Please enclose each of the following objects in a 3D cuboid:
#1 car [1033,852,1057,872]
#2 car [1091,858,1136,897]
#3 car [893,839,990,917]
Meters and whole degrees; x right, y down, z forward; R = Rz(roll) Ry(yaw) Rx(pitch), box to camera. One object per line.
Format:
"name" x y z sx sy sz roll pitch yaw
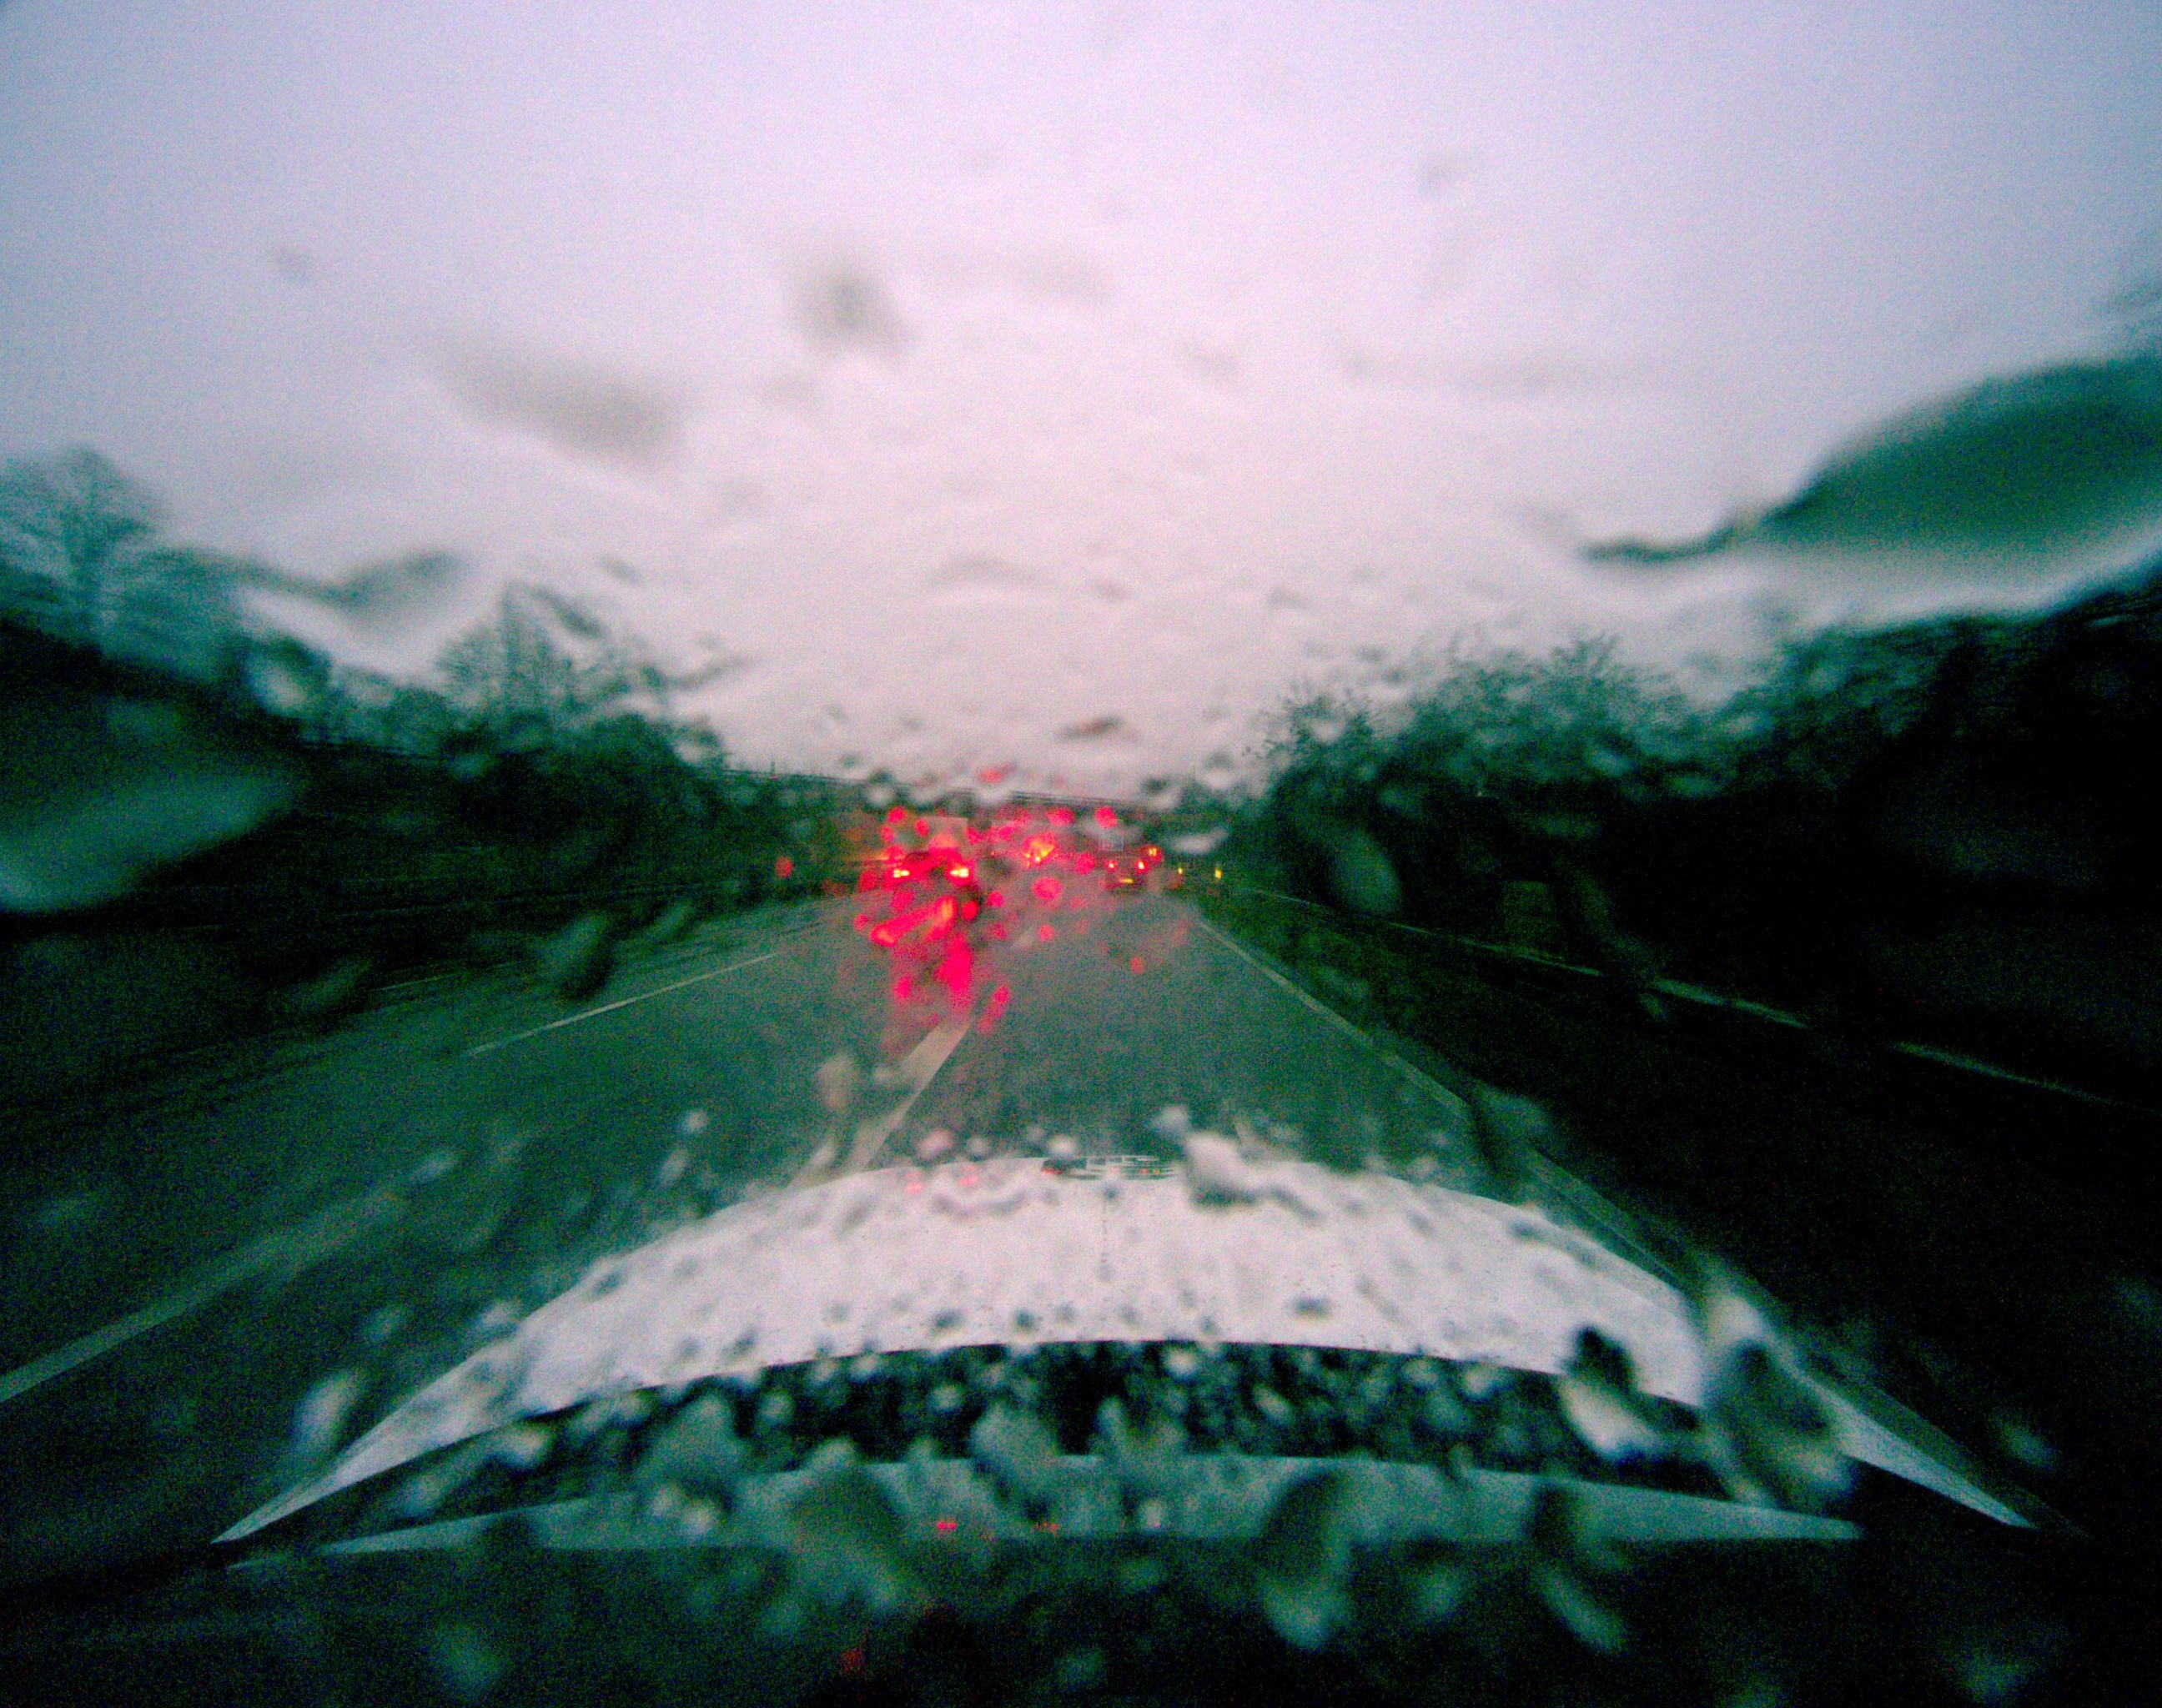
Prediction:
"car" -3.146 0.683 72.215 1.871 1.617 3.876 1 2 1
"car" 1.408 0.934 33.970 1.724 1.429 3.770 -1 0 4
"car" -3.274 0.514 19.799 1.991 1.664 3.992 -1 0 -6
